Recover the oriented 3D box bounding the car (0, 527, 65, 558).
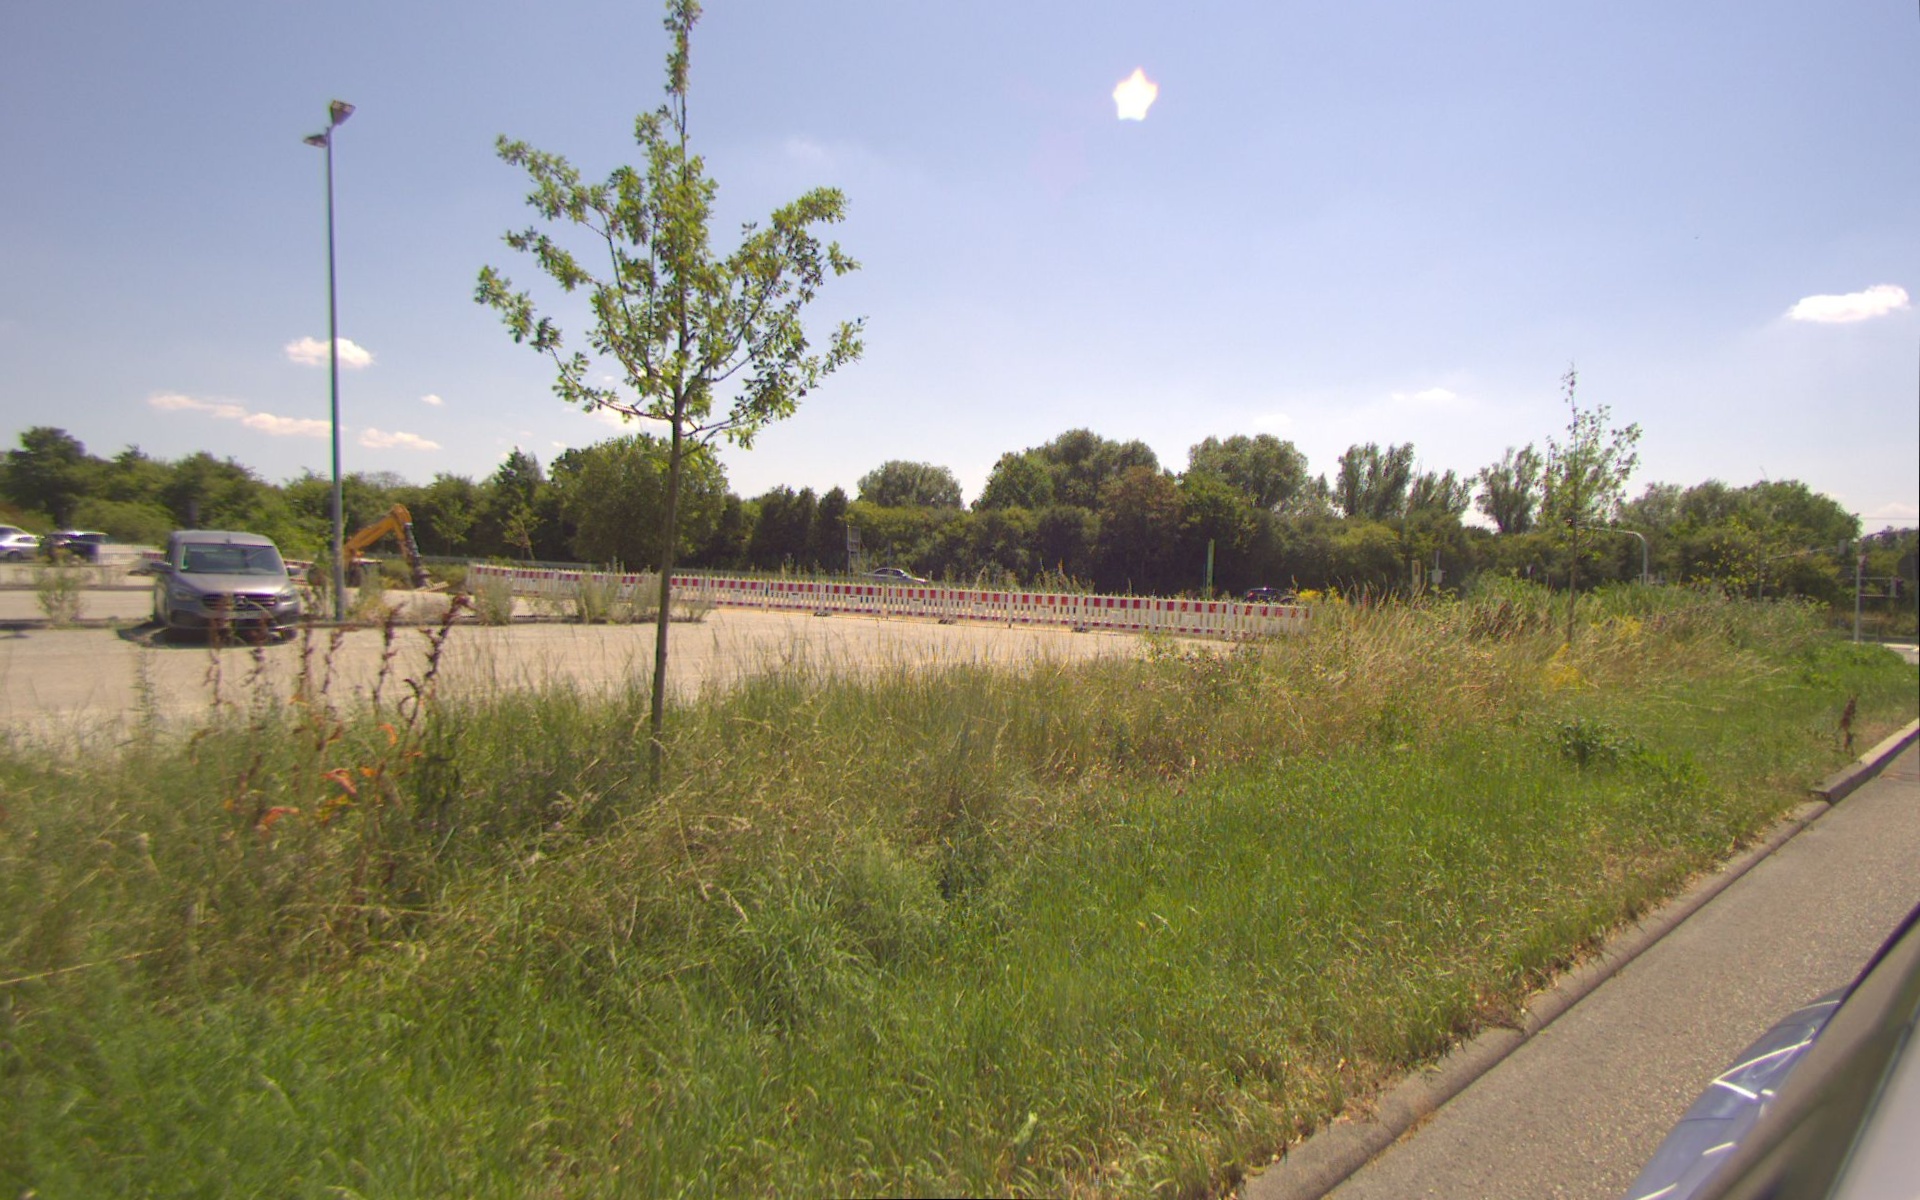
[{"bbox_3d":[-49.145,-2.959,52.326,1.850,1.548,3.981,2,3,16],"label":"car"}]

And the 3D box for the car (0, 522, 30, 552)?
[{"bbox_3d":[-51.525,-3.318,52.847,1.850,1.548,3.981,2,3,16],"label":"car"}]

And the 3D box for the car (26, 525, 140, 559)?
[{"bbox_3d":[-43.765,-2.879,50.592,1.850,1.548,3.981,2,3,16],"label":"car"}]

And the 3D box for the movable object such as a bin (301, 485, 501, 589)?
[{"bbox_3d":[-25.509,-2.866,46.280,7.989,4.095,2.975,4,1,14],"label":"movable object such as a bin"}]

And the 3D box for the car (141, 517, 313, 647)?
[{"bbox_3d":[-12.772,-0.394,17.517,1.906,1.938,4.471,1,3,-42],"label":"car"}]

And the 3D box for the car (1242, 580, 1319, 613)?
[{"bbox_3d":[18.943,-0.214,59.978,3.931,1.660,1.779,4,1,6],"label":"car"}]
